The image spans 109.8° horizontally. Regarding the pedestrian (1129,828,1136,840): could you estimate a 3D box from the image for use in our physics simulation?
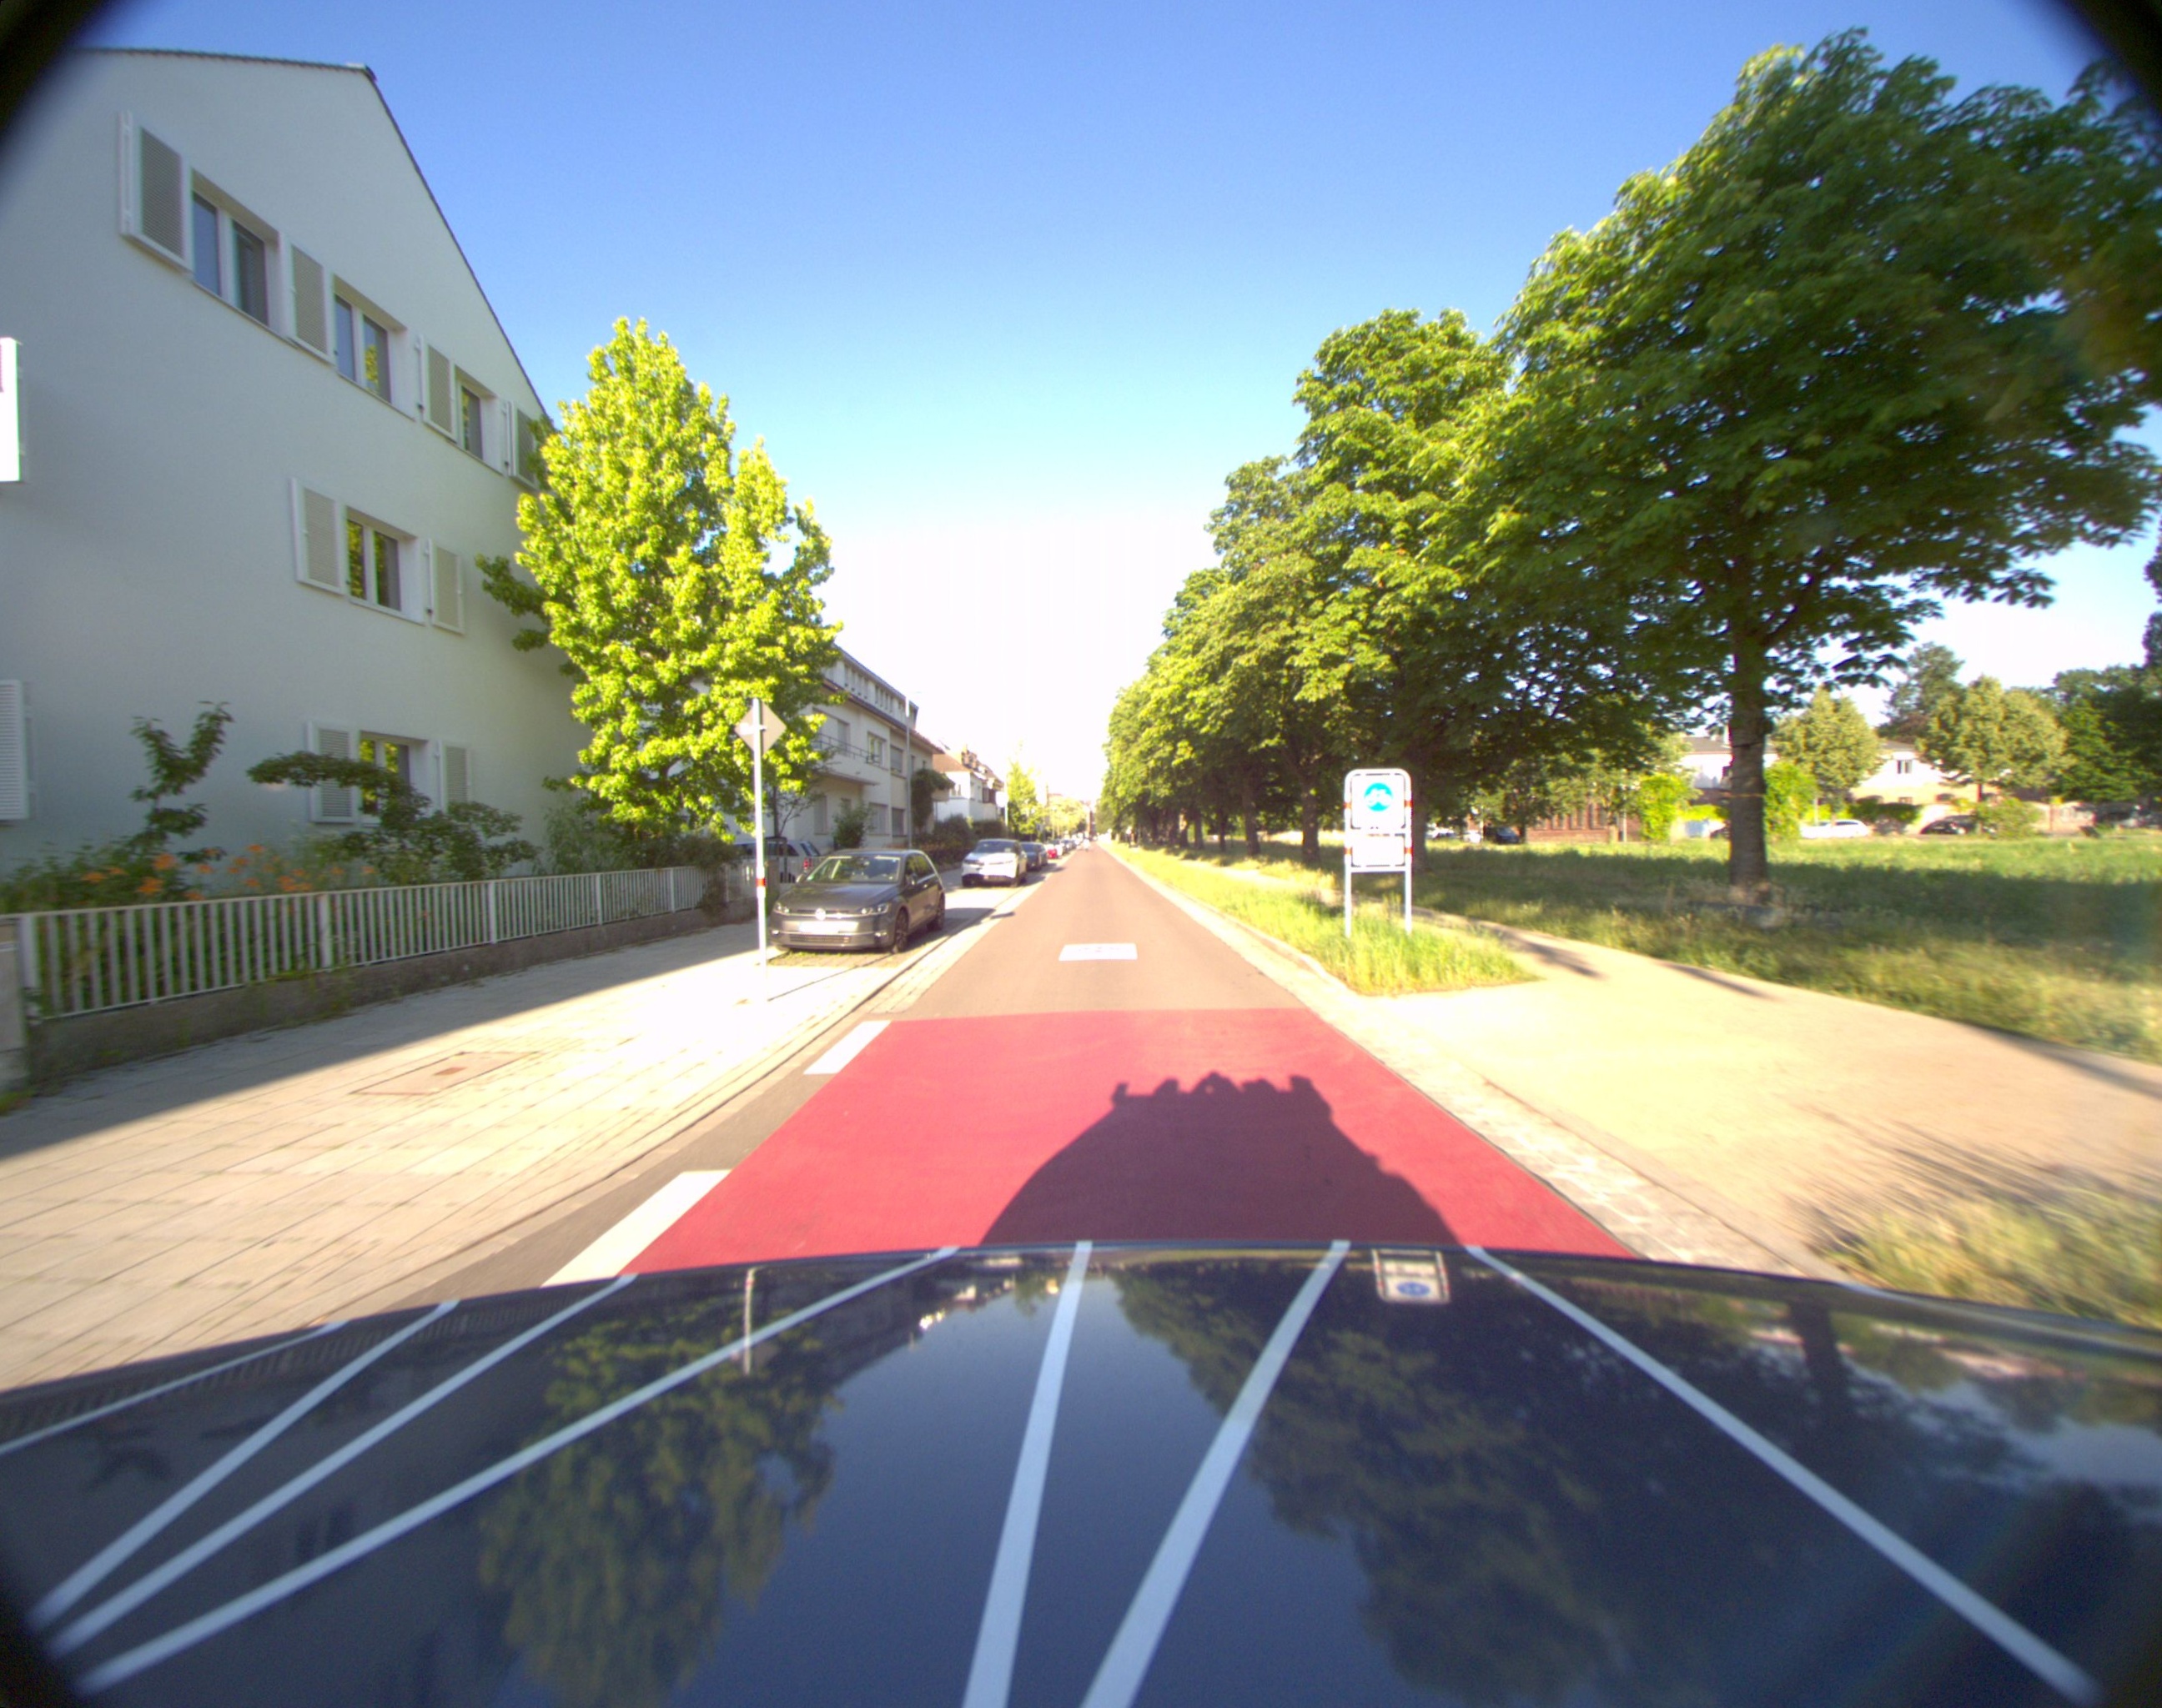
[{"bbox_3d":[6.819,-2.637,100.024,0.625,1.622,0.606,-1,3,27],"label":"pedestrian"}]

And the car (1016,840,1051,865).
[{"bbox_3d":[-2.815,-0.116,45.818,1.798,1.372,4.077,1,2,1],"label":"car"}]

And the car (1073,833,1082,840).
[{"bbox_3d":[-0.787,-3.722,163.559,1.844,1.472,3.762,-2,2,0],"label":"car"}]

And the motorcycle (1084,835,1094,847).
[{"bbox_3d":[0.942,-1.525,89.509,1.077,1.374,2.462,-3,2,0],"label":"motorcycle"}]

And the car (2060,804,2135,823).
[{"bbox_3d":[80.156,-3.196,59.936,3.636,1.273,1.586,-2,3,2],"label":"car"}]

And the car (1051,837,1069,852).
[{"bbox_3d":[-2.147,-1.000,78.627,1.745,1.472,4.055,-2,2,0],"label":"car"}]

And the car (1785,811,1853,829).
[{"bbox_3d":[57.100,-2.624,58.819,3.636,1.273,1.586,-2,3,2],"label":"car"}]

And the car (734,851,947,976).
[{"bbox_3d":[-3.371,0.736,11.534,1.798,1.474,4.123,1,1,2],"label":"car"}]

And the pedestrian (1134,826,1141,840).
[{"bbox_3d":[7.411,-2.761,99.667,0.625,1.841,0.606,0,4,40],"label":"pedestrian"}]

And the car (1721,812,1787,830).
[{"bbox_3d":[51.858,-2.544,58.581,3.636,1.273,1.586,-2,3,2],"label":"car"}]

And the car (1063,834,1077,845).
[{"bbox_3d":[-1.656,-2.209,115.525,1.844,1.472,3.763,-2,2,2],"label":"car"}]

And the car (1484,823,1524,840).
[{"bbox_3d":[38.059,-2.045,68.470,1.585,1.473,3.638,-2,2,2],"label":"car"}]

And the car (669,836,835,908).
[{"bbox_3d":[-9.542,0.500,22.319,3.994,1.834,1.814,-3,1,-5],"label":"car"}]

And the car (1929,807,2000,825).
[{"bbox_3d":[69.046,-2.967,59.412,3.636,1.273,1.586,-2,3,2],"label":"car"}]

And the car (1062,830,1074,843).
[{"bbox_3d":[-2.327,-2.994,132.760,1.844,2.196,3.763,-2,2,1],"label":"car"}]

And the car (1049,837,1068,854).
[{"bbox_3d":[-2.063,-0.775,70.163,1.508,1.472,3.492,0,2,1],"label":"car"}]

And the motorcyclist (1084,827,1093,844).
[{"bbox_3d":[0.902,-2.166,89.770,0.961,2.003,1.273,-3,3,0],"label":"motorcyclist"}]

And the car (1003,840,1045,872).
[{"bbox_3d":[-2.855,0.038,38.767,1.798,1.486,4.192,1,2,1],"label":"car"}]

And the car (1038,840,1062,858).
[{"bbox_3d":[-2.413,-0.388,59.499,1.702,1.250,3.878,-1,2,1],"label":"car"}]

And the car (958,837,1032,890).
[{"bbox_3d":[-2.948,0.260,26.990,1.910,1.698,4.575,1,1,2],"label":"car"}]

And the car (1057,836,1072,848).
[{"bbox_3d":[-2.006,-1.508,95.263,1.665,1.527,3.832,0,2,2],"label":"car"}]
